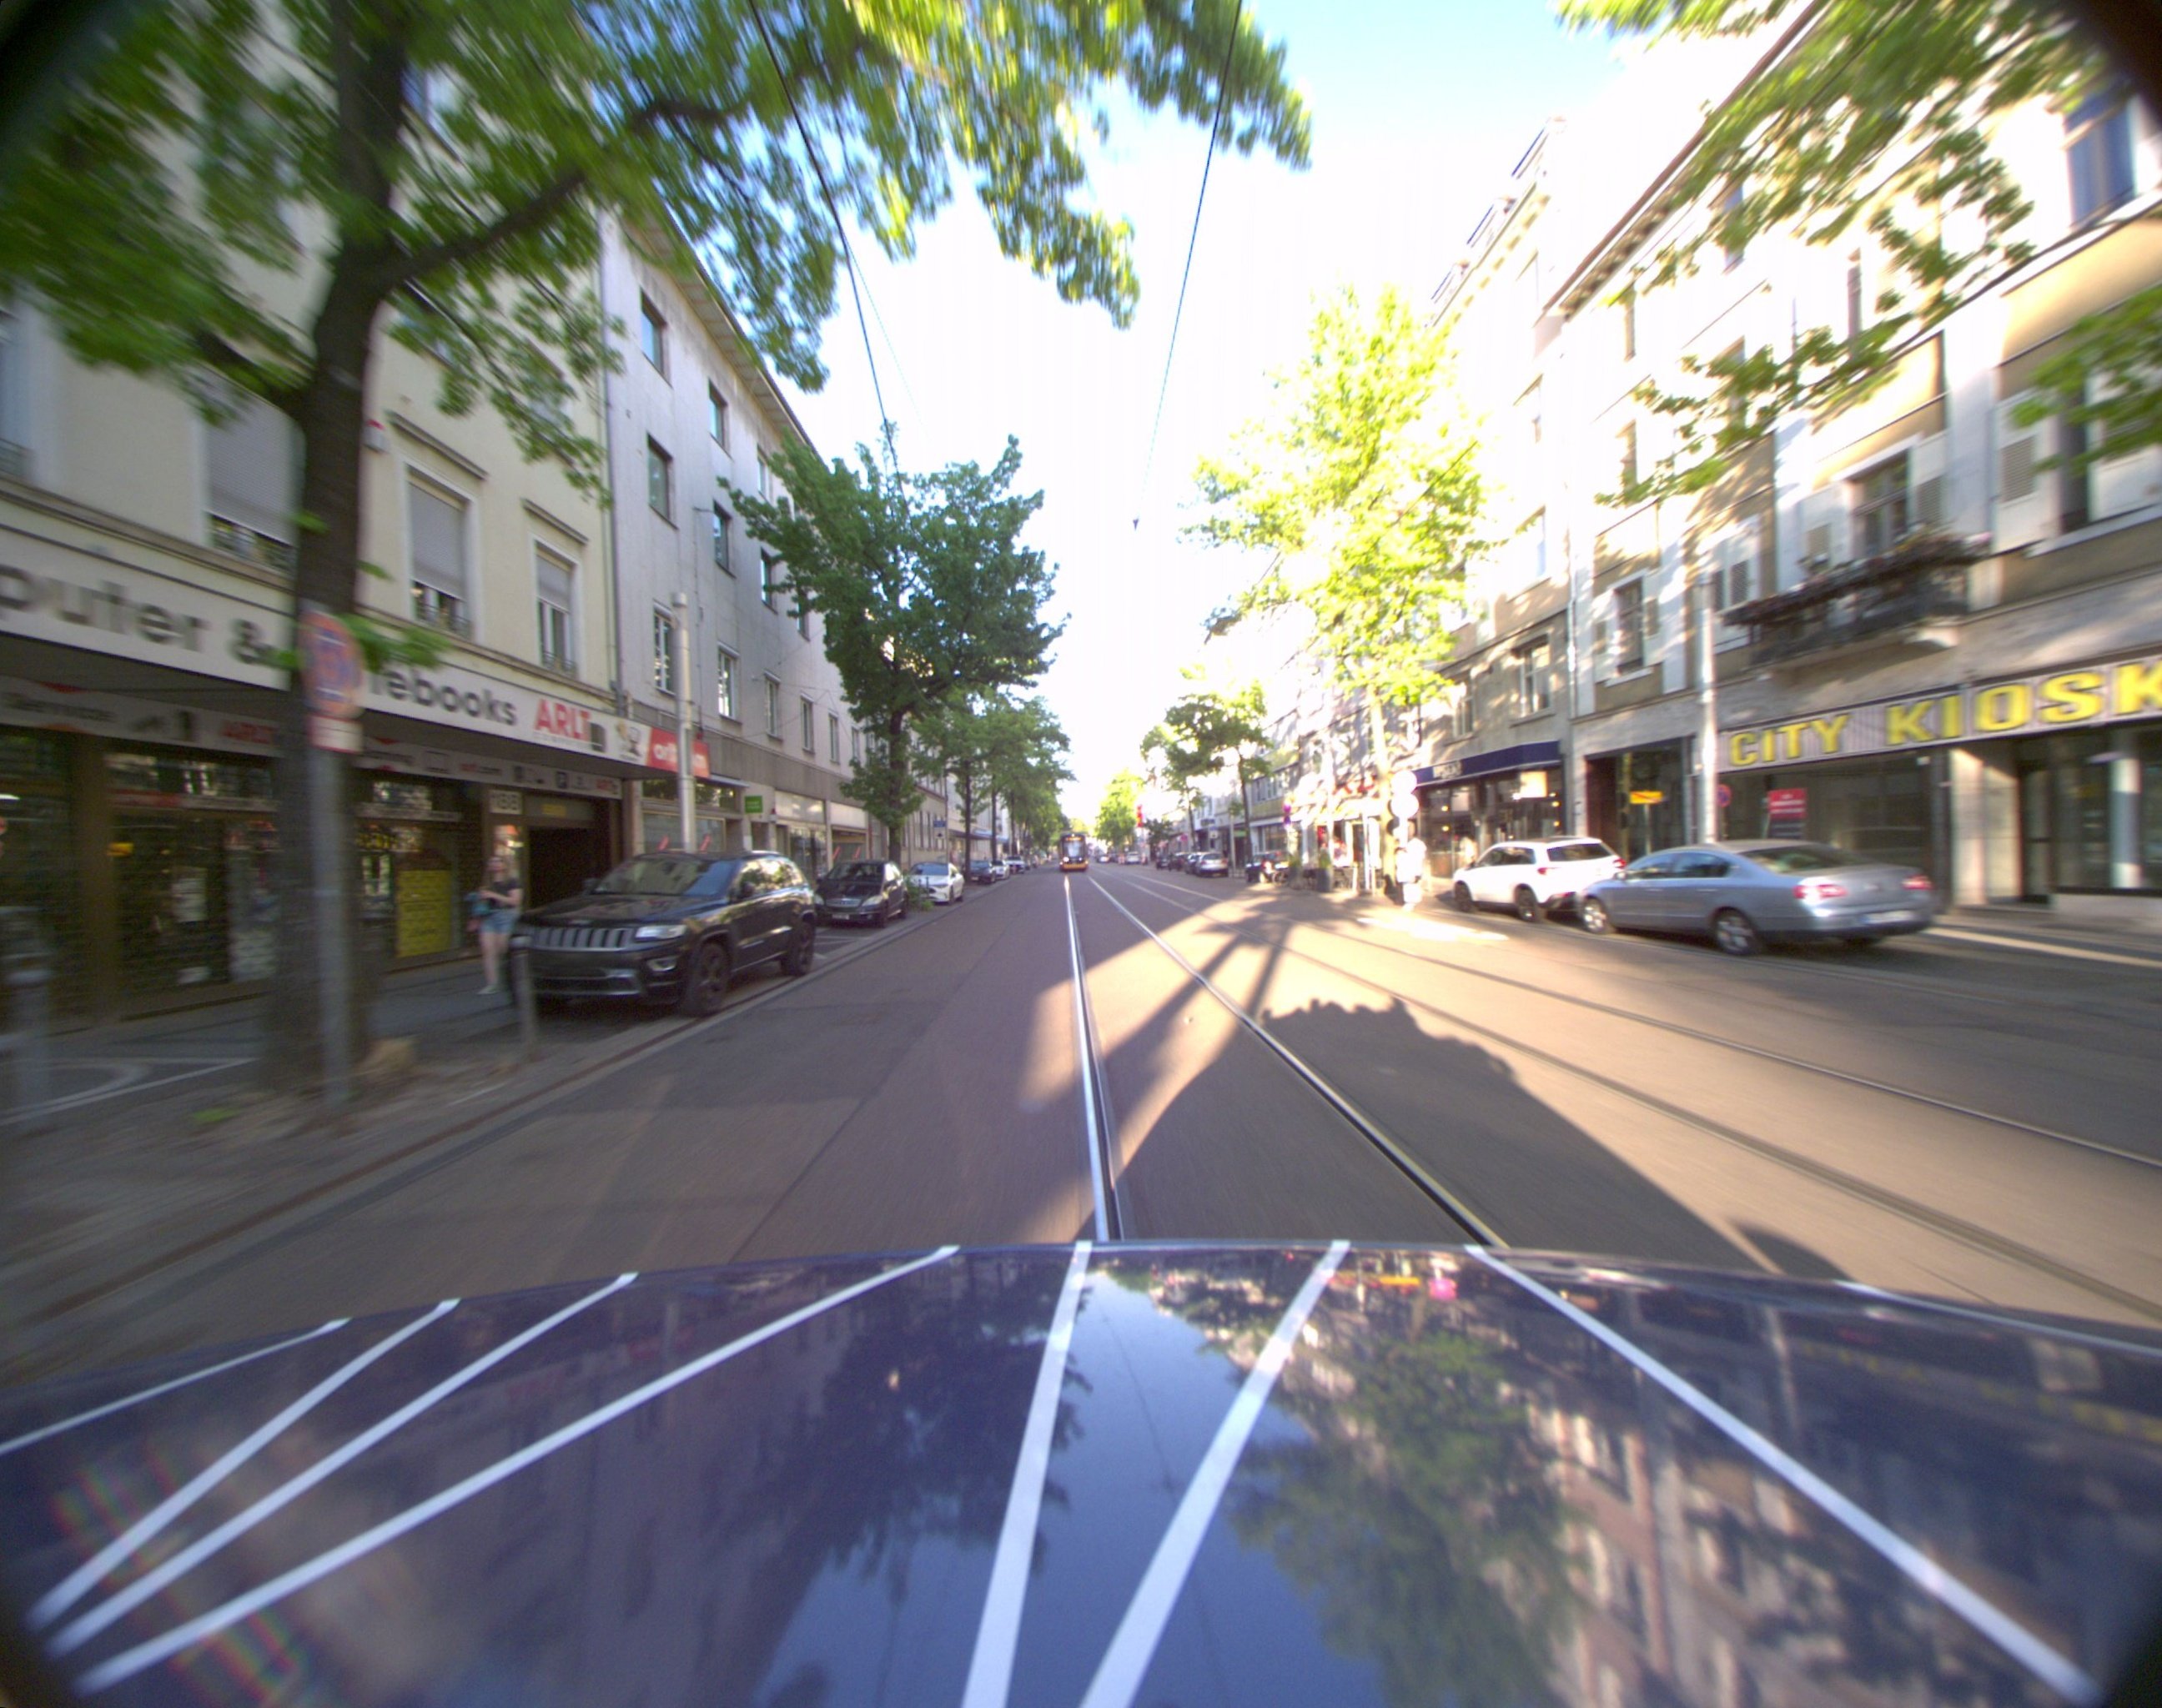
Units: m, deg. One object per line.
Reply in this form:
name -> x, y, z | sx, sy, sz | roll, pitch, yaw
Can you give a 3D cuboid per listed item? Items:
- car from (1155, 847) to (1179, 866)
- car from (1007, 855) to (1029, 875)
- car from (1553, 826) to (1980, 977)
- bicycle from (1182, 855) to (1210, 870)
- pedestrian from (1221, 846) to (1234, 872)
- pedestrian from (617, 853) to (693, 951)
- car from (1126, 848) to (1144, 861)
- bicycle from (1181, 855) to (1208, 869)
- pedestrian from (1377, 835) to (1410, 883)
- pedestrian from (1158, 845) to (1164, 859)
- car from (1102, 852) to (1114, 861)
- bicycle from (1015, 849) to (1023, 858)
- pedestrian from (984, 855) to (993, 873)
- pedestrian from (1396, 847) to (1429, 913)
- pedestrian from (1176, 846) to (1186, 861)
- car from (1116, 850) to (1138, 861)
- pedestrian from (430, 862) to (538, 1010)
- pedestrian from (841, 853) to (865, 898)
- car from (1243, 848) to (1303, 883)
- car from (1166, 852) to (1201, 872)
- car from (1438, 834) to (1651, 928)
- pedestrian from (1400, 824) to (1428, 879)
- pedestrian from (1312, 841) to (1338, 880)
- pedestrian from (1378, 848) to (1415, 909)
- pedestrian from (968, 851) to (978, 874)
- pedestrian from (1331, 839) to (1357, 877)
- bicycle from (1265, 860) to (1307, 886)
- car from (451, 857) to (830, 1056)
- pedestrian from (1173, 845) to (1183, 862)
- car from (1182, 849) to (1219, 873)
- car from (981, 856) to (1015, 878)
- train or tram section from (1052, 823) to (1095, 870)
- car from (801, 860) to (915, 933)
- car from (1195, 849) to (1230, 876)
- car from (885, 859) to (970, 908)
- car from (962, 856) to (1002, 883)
car -> 8.058, 0.246, 70.853 | 1.632, 1.606, 3.712 | -4, 0, 14
car -> -5.900, 1.006, 71.261 | 2.003, 1.678, 4.965 | 0, 1, -4
car -> 9.326, 0.537, 11.066 | 1.841, 1.571, 4.701 | -5, 0, -1
bicycle -> 8.540, 0.638, 56.564 | 1.975, 0.995, 0.330 | -2, 1, 1
pedestrian -> 10.704, 0.359, 55.478 | 0.661, 1.815, 0.878 | -5, 1, -1
pedestrian -> -7.953, 0.869, 14.225 | 0.860, 1.743, 0.932 | 1, 0, -1
car -> 7.609, 0.058, 107.509 | 1.999, 1.744, 4.743 | -4, 0, -2
bicycle -> 8.690, 0.612, 58.259 | 1.975, 0.995, 0.330 | -2, 1, 1
pedestrian -> 11.654, 0.174, 28.325 | 0.724, 1.750, 1.090 | -2, 1, -1
pedestrian -> 10.433, -0.266, 98.944 | 0.643, 1.703, 0.829 | -3, 1, 3
car -> 4.855, 0.453, 135.541 | 1.889, 1.602, 4.200 | 0, 0, -1
bicycle -> -7.847, -0.087, 96.362 | 0.656, 1.064, 1.671 | 0, -1, -20
pedestrian -> -8.164, 0.872, 67.095 | 0.650, 1.564, 0.798 | -2, 1, -1
pedestrian -> 8.045, 0.630, 18.464 | 0.522, 1.560, 0.633 | -1, 2, 0
pedestrian -> 11.249, -0.034, 85.729 | 0.834, 1.685, 1.037 | -4, 1, -1
car -> 8.187, 0.262, 134.824 | 3.403, 1.551, 1.786 | -5, 2, -23
pedestrian -> -7.051, 0.934, 9.012 | 0.645, 1.660, 0.786 | 1, 1, -1
pedestrian -> -8.689, 0.806, 28.984 | 0.659, 1.655, 0.888 | 1, 1, -2
car -> 8.951, 0.521, 35.803 | 1.670, 1.420, 3.826 | -5, 0, -2
car -> 8.427, 0.670, 62.734 | 1.797, 1.481, 4.239 | -3, 1, -7
car -> 9.521, 0.492, 16.066 | 1.841, 1.571, 4.116 | -5, 0, -1
pedestrian -> 12.404, -0.082, 28.298 | 0.724, 2.002, 0.642 | -2, 1, -1
pedestrian -> 10.784, 0.284, 33.598 | 0.846, 1.683, 0.740 | -2, 1, -2
pedestrian -> 7.985, 0.603, 19.256 | 0.621, 1.501, 0.729 | -1, 2, 0
pedestrian -> -9.225, 0.719, 64.826 | 0.715, 1.876, 1.053 | 0, 1, -1
pedestrian -> 11.769, 0.185, 34.064 | 0.791, 1.683, 0.913 | -2, 1, -2
bicycle -> 8.564, 0.793, 31.774 | 1.619, 0.960, 0.433 | -4, 0, 4
car -> -4.807, 0.951, 9.299 | 1.943, 1.749, 4.679 | 2, 0, -1
pedestrian -> 10.331, -0.015, 80.902 | 0.853, 1.756, 0.831 | -2, 0, -4
car -> 8.261, 0.447, 52.787 | 1.716, 1.452, 4.485 | -3, 0, -1
car -> -5.756, 0.893, 53.210 | 1.917, 1.412, 4.887 | 1, 0, -1
train or tram section -> -0.774, -0.622, 73.615 | 3.607, 3.974, 15.714 | -2, 0, -1
car -> -5.497, 0.990, 19.231 | 1.781, 1.582, 3.891 | 2, 0, -2
car -> 7.970, 0.467, 46.369 | 1.771, 1.488, 4.176 | -2, 1, 6
car -> -5.256, 0.961, 26.669 | 1.999, 1.489, 4.679 | 1, 0, 0
car -> -5.763, 0.896, 44.712 | 1.838, 1.469, 4.760 | 0, 0, -2
